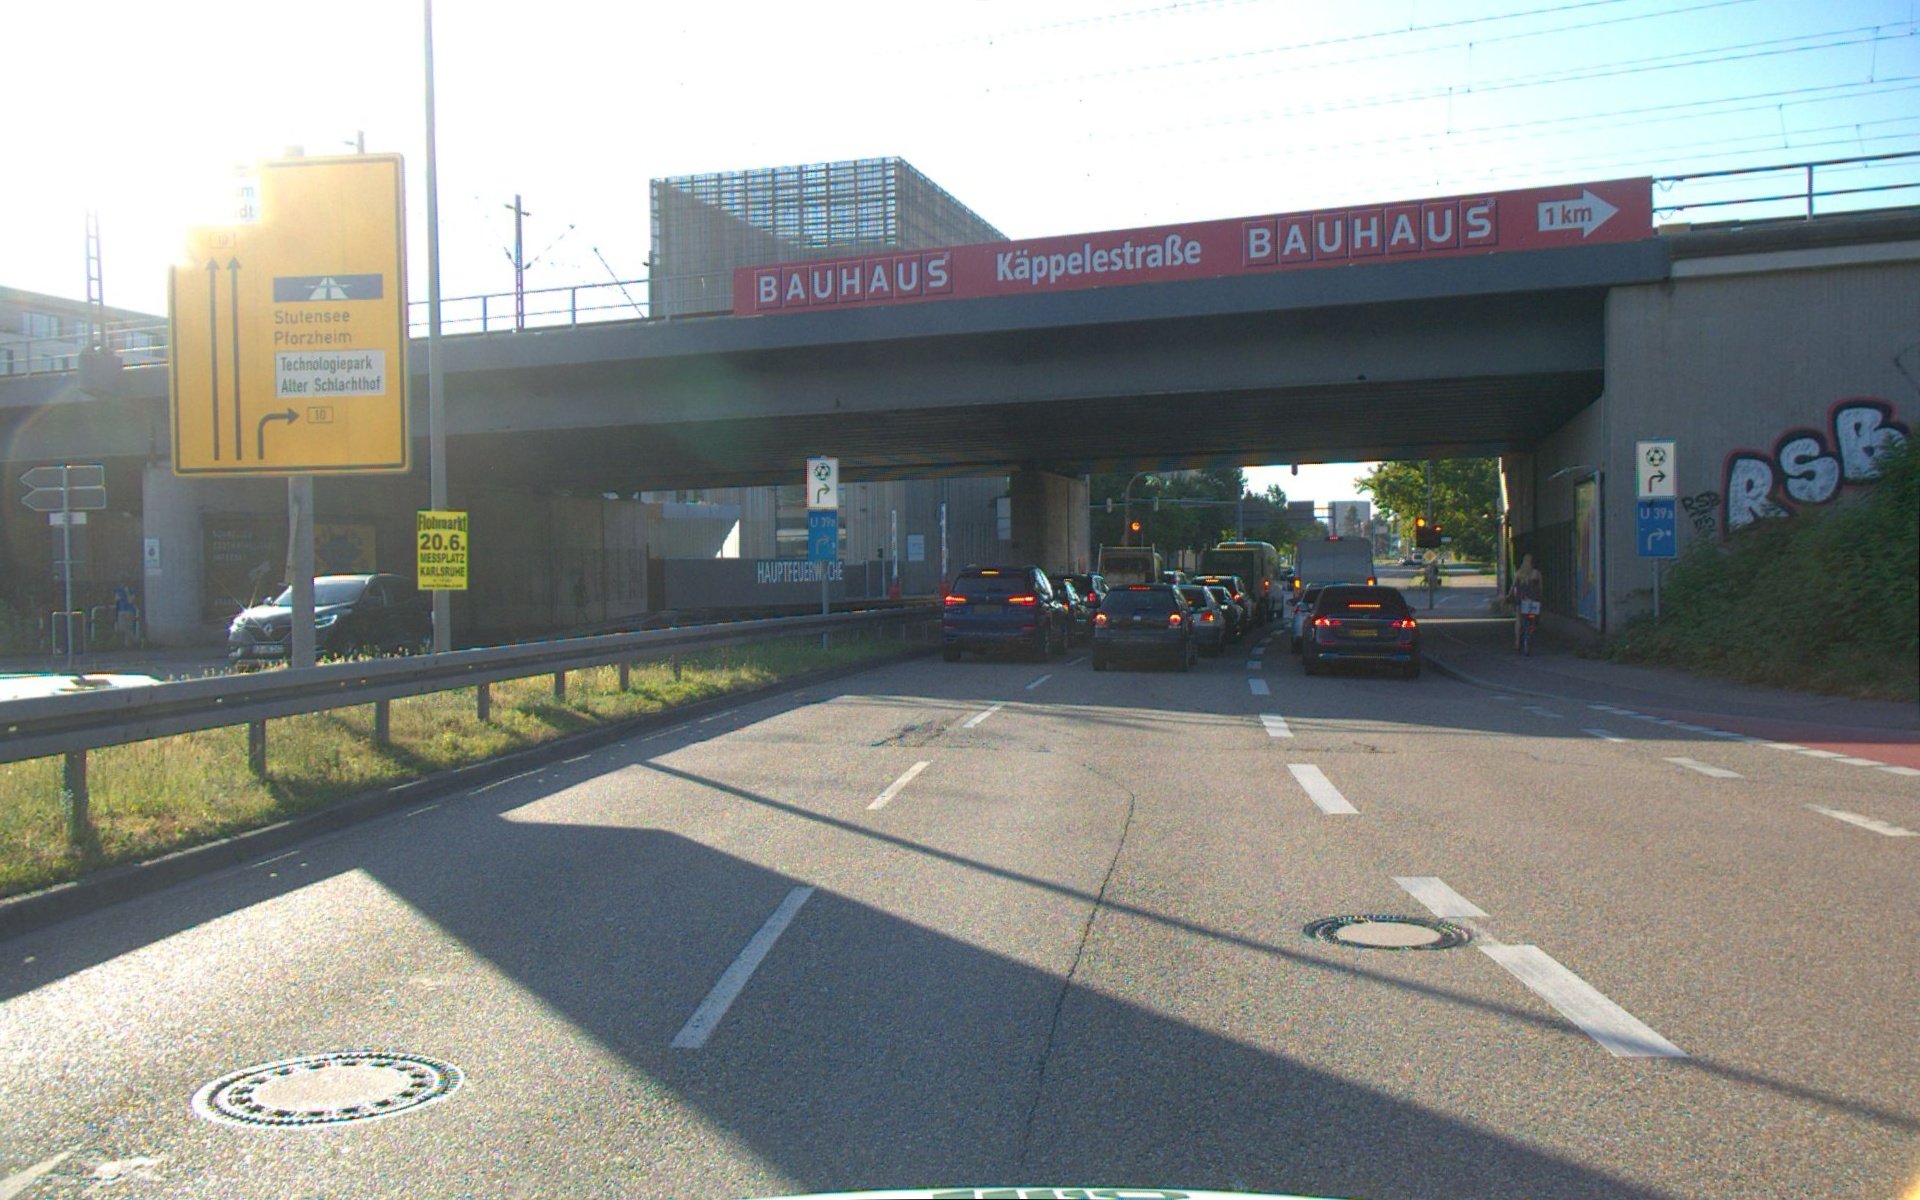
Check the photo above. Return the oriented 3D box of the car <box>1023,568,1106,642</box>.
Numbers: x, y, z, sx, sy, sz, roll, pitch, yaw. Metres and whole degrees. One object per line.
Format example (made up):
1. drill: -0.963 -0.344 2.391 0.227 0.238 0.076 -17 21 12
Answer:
1. car: 2.812 0.126 43.788 1.802 1.749 4.003 -4 -1 8

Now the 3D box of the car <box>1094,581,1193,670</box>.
1. car: 3.247 0.419 28.802 1.548 1.433 3.835 0 0 9

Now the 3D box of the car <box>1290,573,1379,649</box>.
1. car: 8.068 0.230 35.735 1.734 1.521 3.835 -2 0 12

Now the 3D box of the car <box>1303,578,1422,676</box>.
1. car: 6.810 0.389 28.364 1.703 1.480 4.610 0 2 10

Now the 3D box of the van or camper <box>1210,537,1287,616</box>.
1. van or camper: 10.158 -0.780 57.947 1.951 2.615 5.921 0 0 17

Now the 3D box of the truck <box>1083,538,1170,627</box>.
1. truck: 5.238 -0.511 51.344 1.985 2.601 5.542 0 0 13

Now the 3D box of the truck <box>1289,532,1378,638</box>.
1. truck: 9.735 -0.376 43.377 2.066 2.563 4.405 -2 0 11

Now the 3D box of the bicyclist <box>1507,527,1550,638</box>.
1. bicyclist: 10.065 -0.303 29.280 0.667 1.940 0.834 0 0 16

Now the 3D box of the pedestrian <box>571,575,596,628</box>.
1. pedestrian: -13.928 0.047 61.230 0.679 1.937 0.665 0 0 15

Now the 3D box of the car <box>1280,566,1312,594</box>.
1. car: 20.670 -1.193 101.644 1.762 1.632 4.003 0 0 14

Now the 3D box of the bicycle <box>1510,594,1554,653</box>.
1. bicycle: 10.141 0.401 29.363 0.566 0.980 2.888 -1 0 16

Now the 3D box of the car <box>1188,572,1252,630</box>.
1. car: 7.364 0.036 46.620 1.548 1.559 3.835 0 0 13

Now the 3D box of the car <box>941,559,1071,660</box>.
1. car: 0.949 0.177 31.450 1.790 1.769 4.465 -1 0 10

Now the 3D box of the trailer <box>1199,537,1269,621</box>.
1. trailer: 8.742 -0.636 52.562 1.824 2.508 3.835 -2 0 14

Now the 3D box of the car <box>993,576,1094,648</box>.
1. car: 1.965 0.254 37.998 1.802 1.465 3.678 -4 -1 10

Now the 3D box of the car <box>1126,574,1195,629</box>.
1. car: 7.282 0.055 59.901 1.951 1.934 4.003 0 0 14

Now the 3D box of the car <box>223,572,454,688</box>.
1. car: -10.043 0.469 27.121 1.807 1.631 4.396 -4 -1 4

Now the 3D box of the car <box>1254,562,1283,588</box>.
1. car: 20.656 -1.655 110.669 1.762 1.632 3.743 0 0 14

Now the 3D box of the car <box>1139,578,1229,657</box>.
1. car: 4.623 0.325 33.851 1.514 1.448 3.420 -4 0 12
